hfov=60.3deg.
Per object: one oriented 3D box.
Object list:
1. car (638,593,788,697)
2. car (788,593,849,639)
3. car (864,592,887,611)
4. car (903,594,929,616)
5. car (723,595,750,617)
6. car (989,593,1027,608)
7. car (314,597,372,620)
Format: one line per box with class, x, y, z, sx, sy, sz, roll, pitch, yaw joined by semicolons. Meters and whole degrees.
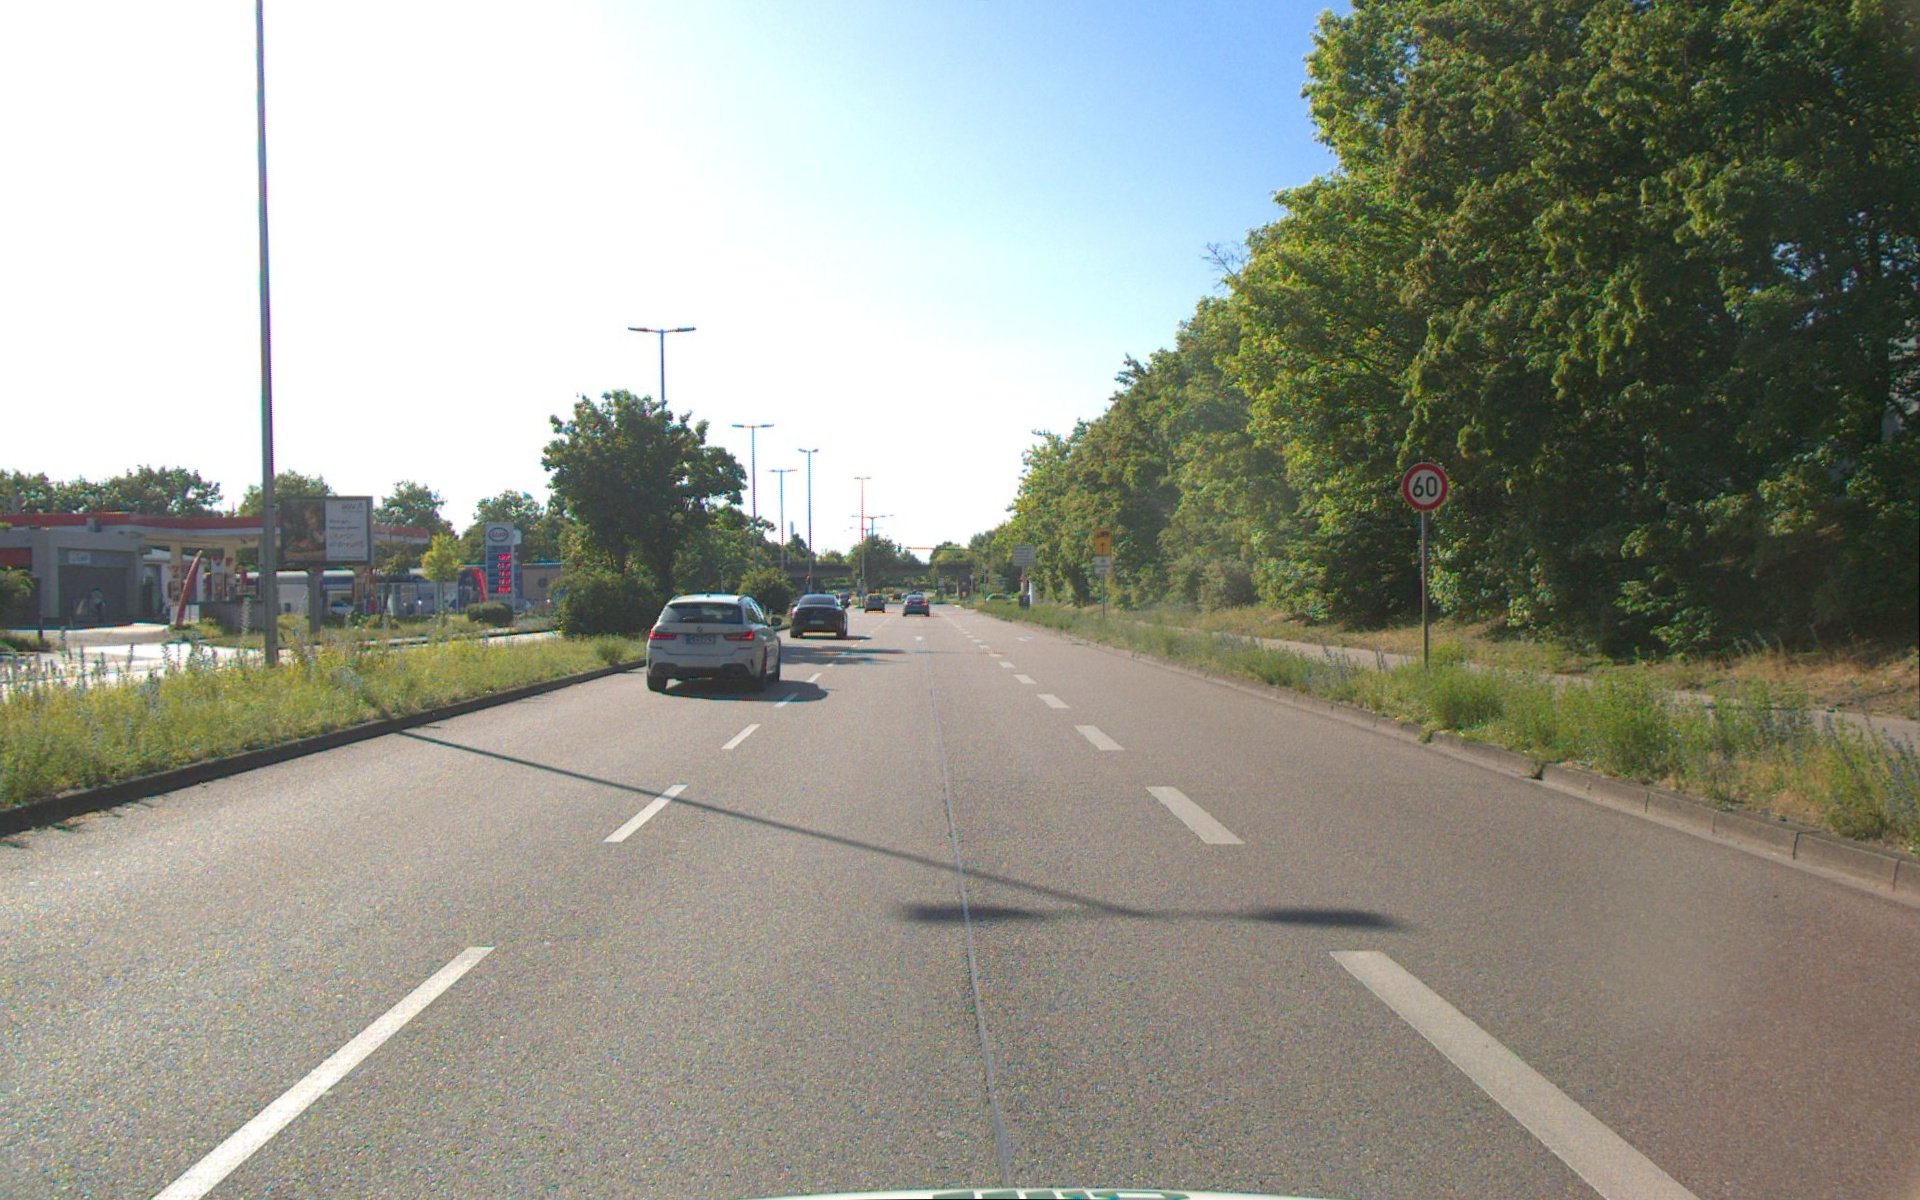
car;-3.864;0.652;26.578;1.824;1.480;4.546;1;1;-2
car;-4.828;0.518;57.010;1.824;1.480;4.546;-1;0;-2
car;-7.254;0.151;142.135;1.824;1.592;4.546;0;0;-2
car;-3.112;0.342;116.565;1.824;1.525;4.335;-1;0;-2
car;-19.628;0.528;145.531;1.704;1.833;4.670;-4;0;-1
car;4.717;0.034;162.776;3.388;1.421;1.437;-1;0;31
car;-52.894;0.735;141.860;4.298;1.875;1.998;-1;0;-4
